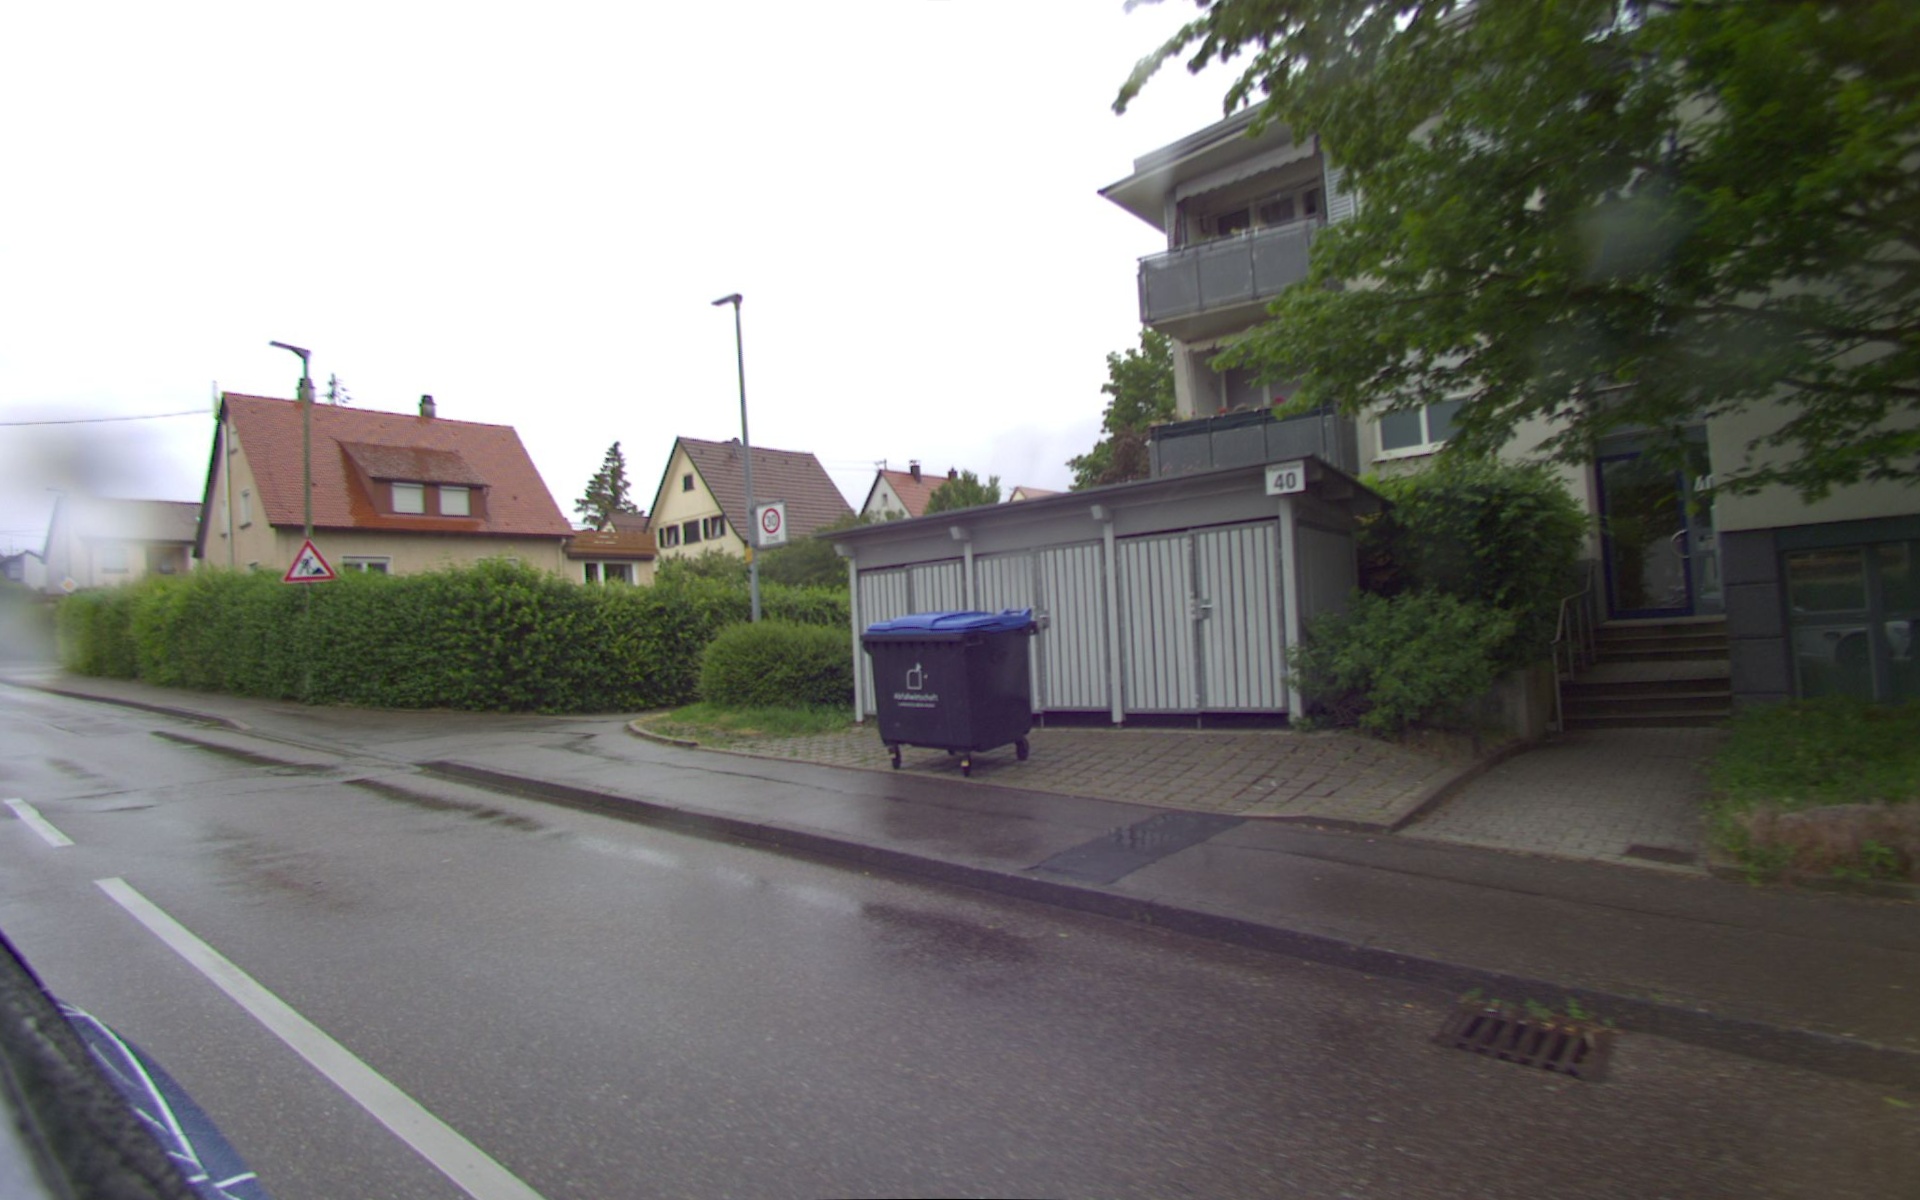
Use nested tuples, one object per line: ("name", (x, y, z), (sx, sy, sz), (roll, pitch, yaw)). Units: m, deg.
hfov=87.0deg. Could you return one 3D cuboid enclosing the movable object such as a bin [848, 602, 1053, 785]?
("movable object such as a bin", (-0.081, 0.738, 8.584), (1.318, 1.357, 1.061), (-2, 0, 39))
